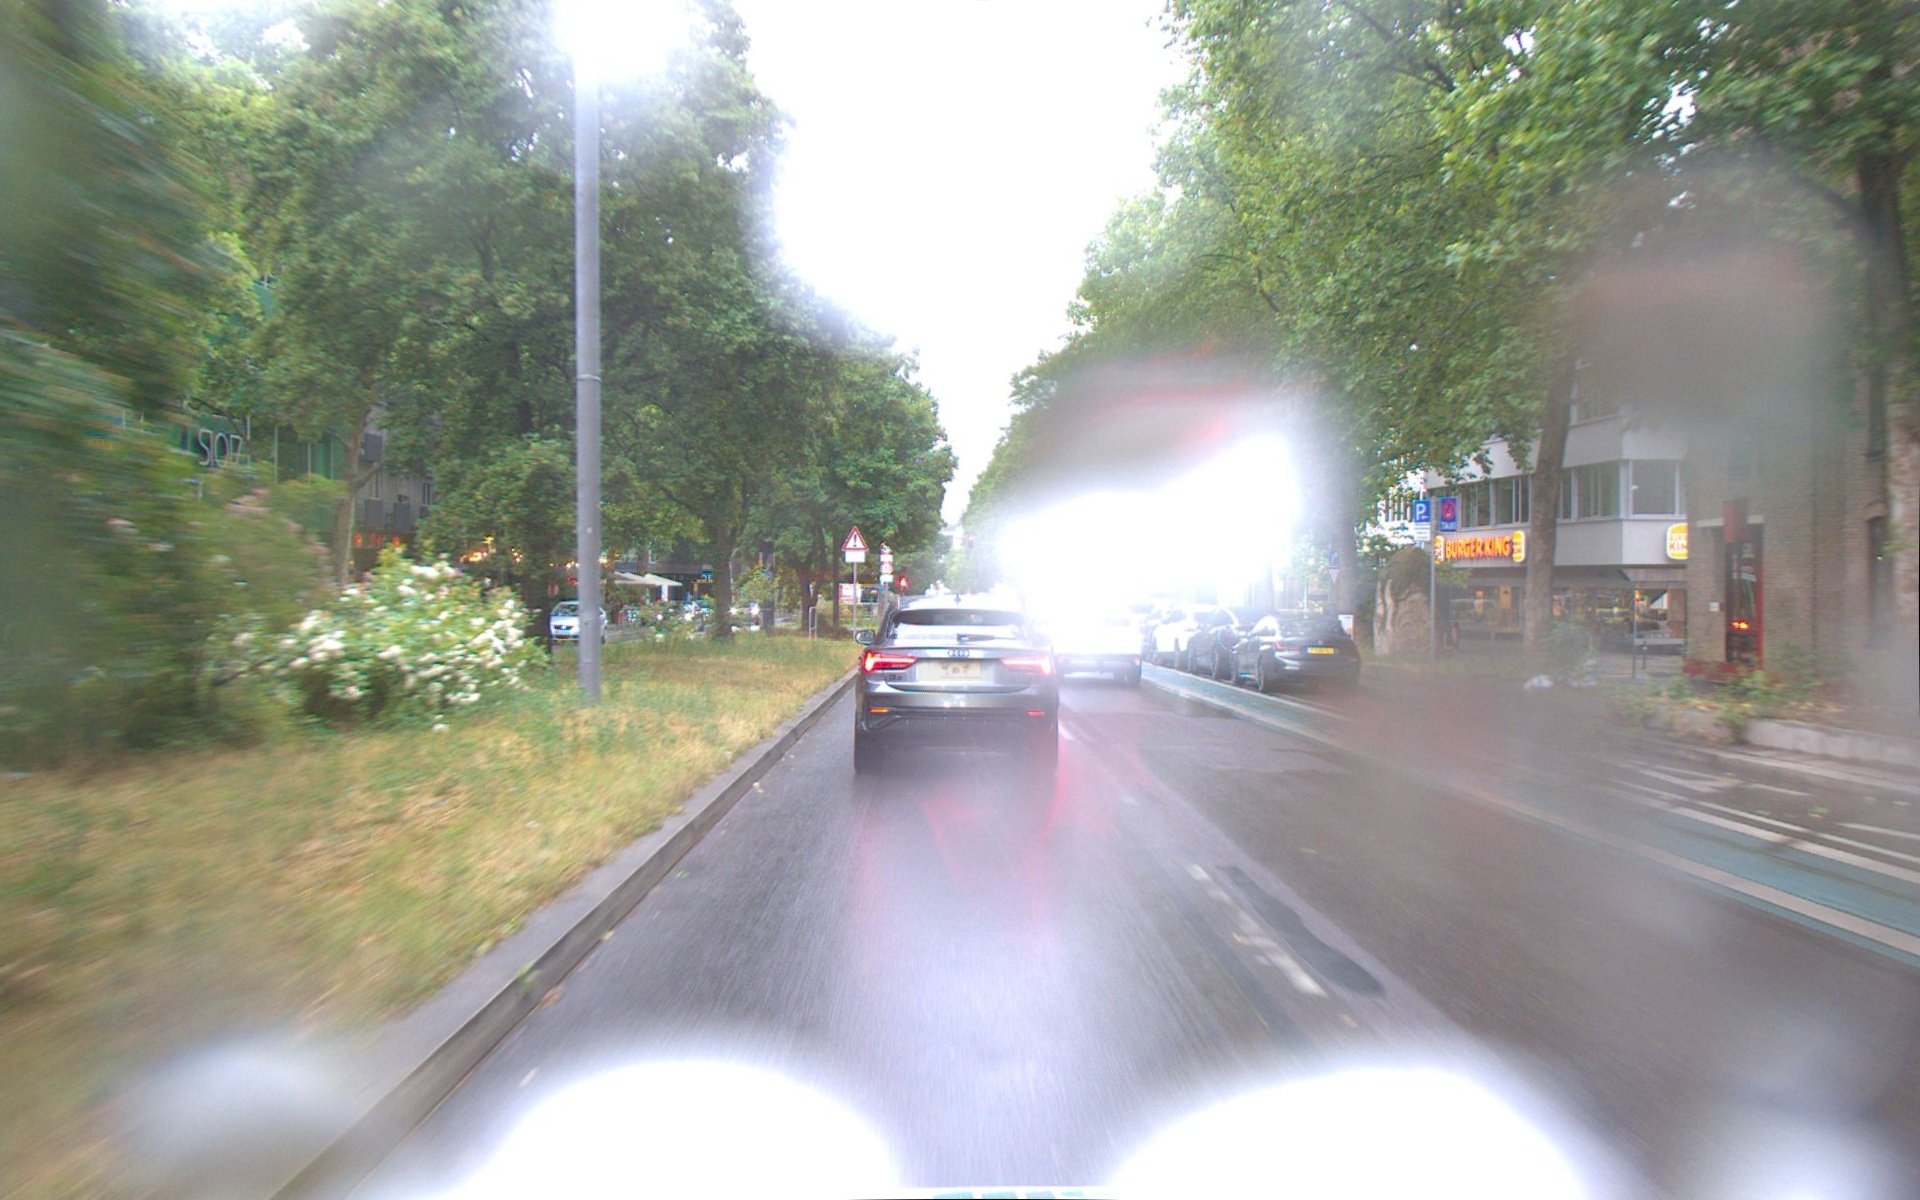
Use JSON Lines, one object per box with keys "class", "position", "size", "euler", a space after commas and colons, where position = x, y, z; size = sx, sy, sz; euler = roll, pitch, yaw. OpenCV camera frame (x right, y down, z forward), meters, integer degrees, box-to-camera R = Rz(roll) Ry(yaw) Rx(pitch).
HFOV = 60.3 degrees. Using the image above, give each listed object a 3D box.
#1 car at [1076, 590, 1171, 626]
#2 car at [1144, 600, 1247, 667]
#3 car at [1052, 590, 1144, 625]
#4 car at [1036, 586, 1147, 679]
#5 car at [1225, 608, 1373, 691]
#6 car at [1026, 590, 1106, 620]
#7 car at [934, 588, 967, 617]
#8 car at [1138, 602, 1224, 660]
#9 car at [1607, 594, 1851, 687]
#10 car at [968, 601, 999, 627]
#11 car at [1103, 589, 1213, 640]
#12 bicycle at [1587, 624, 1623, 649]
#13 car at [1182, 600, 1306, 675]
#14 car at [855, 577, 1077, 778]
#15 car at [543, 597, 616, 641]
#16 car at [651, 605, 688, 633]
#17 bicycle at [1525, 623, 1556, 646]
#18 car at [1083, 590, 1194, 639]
{"class": "car", "position": [8.572, 0.403, 86.765], "size": [4.548, 1.736, 1.998], "euler": [2, -1, 27]}
{"class": "car", "position": [6.053, 0.850, 42.907], "size": [1.694, 1.599, 4.069], "euler": [2, -1, -5]}
{"class": "car", "position": [7.569, 0.392, 90.618], "size": [4.548, 1.736, 1.998], "euler": [2, -1, 27]}
{"class": "car", "position": [2.621, 0.646, 33.892], "size": [1.840, 1.727, 3.999], "euler": [2, -1, -1]}
{"class": "car", "position": [6.545, 0.913, 32.405], "size": [1.835, 1.446, 4.610], "euler": [2, 0, -1]}
{"class": "car", "position": [6.692, 0.296, 104.520], "size": [4.548, 1.736, 1.998], "euler": [2, -1, 27]}
{"class": "car", "position": [-0.625, 0.149, 106.536], "size": [1.953, 1.757, 3.998], "euler": [2, -1, -2]}
{"class": "car", "position": [6.346, 0.876, 47.898], "size": [1.662, 1.550, 4.020], "euler": [2, -1, -4]}
{"class": "car", "position": [10.240, 0.522, 22.033], "size": [2.830, 1.093, 1.453], "euler": [2, -1, 30]}
{"class": "car", "position": [1.611, 0.976, 114.802], "size": [1.953, 1.680, 3.999], "euler": [2, -1, -1]}
{"class": "car", "position": [9.439, 0.685, 79.025], "size": [4.787, 2.293, 1.997], "euler": [2, -1, 28]}
{"class": "bicycle", "position": [22.547, 1.263, 57.847], "size": [0.439, 0.851, 2.026], "euler": [2, -1, -1]}
{"class": "car", "position": [6.483, 0.843, 38.224], "size": [1.830, 1.547, 4.556], "euler": [2, -1, -3]}
{"class": "car", "position": [-0.019, 0.655, 15.702], "size": [1.812, 1.630, 3.998], "euler": [1, 0, -2]}
{"class": "car", "position": [-13.165, 0.658, 57.398], "size": [1.615, 1.460, 3.812], "euler": [0, -1, 0]}
{"class": "car", "position": [-14.029, 0.923, 79.938], "size": [1.658, 1.280, 3.637], "euler": [2, -1, -9]}
{"class": "bicycle", "position": [22.263, 1.330, 63.484], "size": [0.439, 0.851, 2.026], "euler": [2, -1, -1]}
{"class": "car", "position": [7.888, 0.632, 73.398], "size": [4.517, 2.049, 1.960], "euler": [1, -1, 37]}
